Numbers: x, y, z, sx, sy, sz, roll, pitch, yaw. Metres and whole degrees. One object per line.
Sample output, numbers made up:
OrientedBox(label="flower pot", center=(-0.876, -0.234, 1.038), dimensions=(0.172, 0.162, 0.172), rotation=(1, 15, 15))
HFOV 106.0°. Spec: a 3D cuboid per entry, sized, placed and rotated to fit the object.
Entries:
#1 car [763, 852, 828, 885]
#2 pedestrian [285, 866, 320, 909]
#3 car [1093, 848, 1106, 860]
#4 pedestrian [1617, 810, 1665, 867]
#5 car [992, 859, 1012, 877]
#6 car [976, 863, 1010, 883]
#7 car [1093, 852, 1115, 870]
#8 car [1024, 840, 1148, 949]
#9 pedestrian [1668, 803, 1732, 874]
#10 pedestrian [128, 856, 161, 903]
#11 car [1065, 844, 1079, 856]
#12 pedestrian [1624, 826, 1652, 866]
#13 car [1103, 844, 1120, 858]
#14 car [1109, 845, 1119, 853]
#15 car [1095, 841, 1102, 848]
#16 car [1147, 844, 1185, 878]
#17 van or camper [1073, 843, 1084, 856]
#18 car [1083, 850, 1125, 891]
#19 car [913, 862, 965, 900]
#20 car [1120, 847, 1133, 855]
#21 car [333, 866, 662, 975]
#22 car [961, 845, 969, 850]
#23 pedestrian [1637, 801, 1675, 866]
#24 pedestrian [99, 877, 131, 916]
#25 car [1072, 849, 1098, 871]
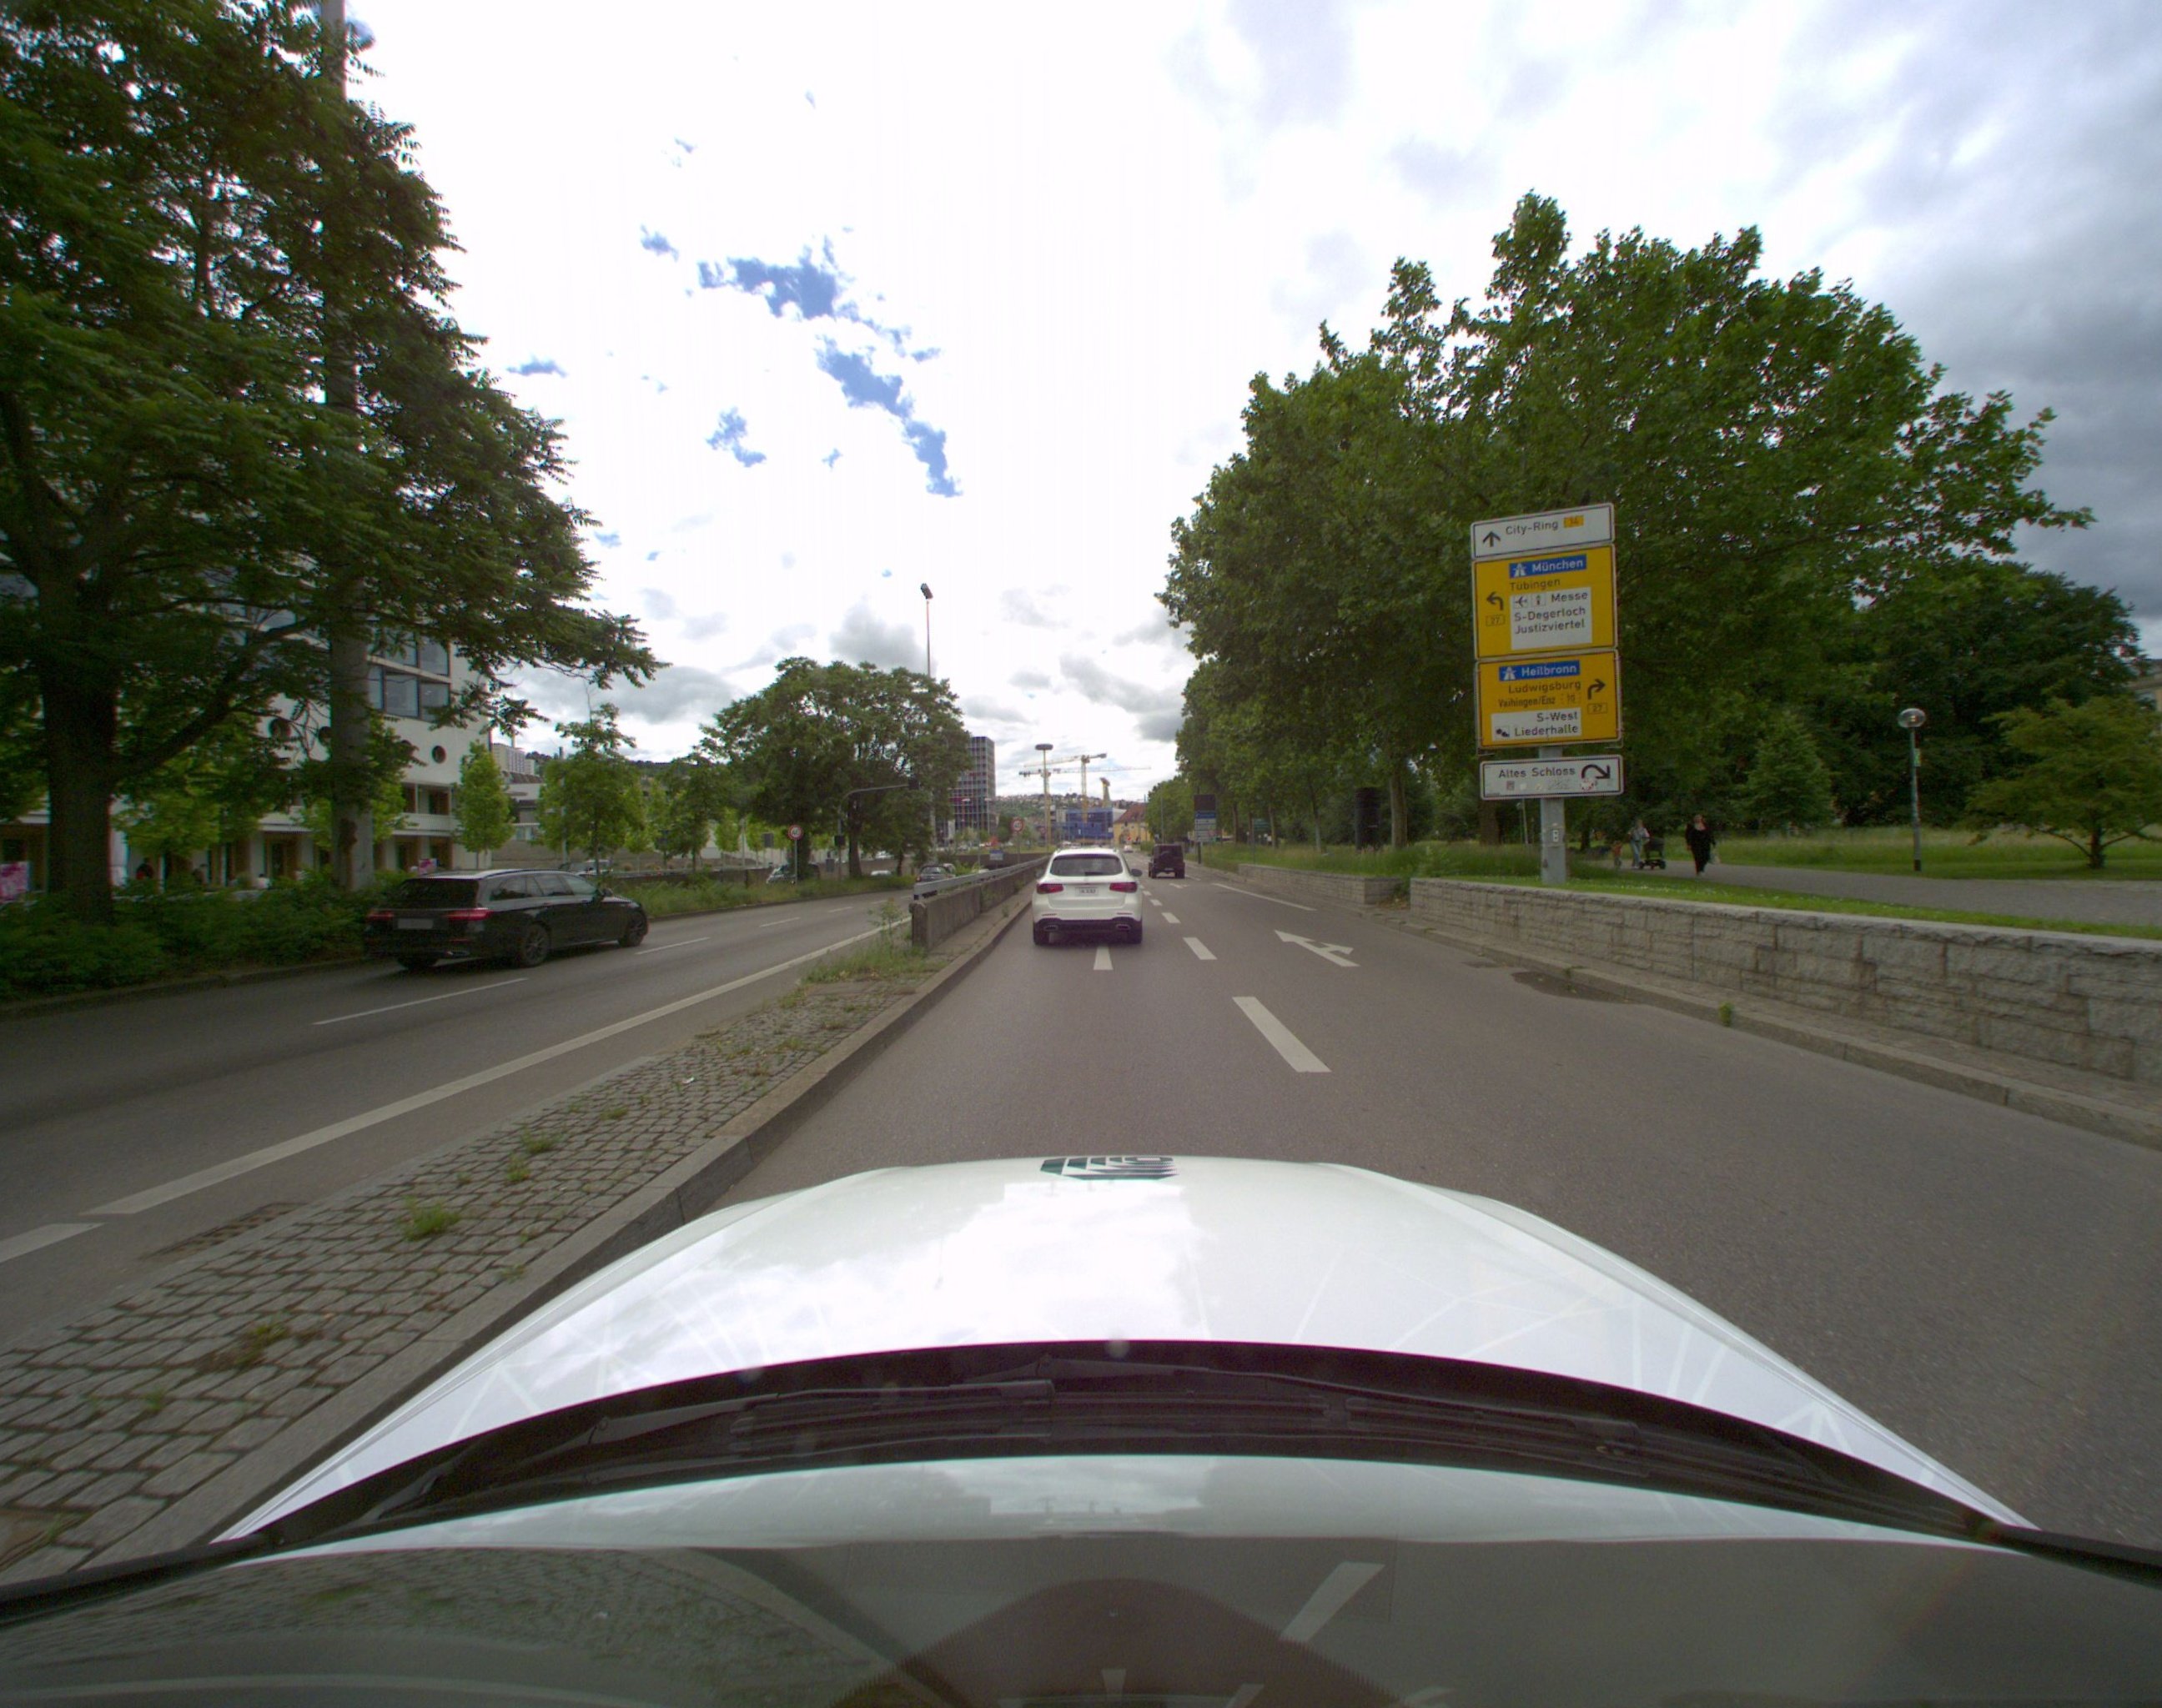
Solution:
OrientedBox(label="car", center=(-16.270, 0.802, 46.617), dimensions=(1.849, 1.717, 4.449), rotation=(-2, 0, 3))
OrientedBox(label="pedestrian", center=(-38.028, 1.635, 39.767), dimensions=(0.710, 2.013, 0.737), rotation=(-10, -1, -8))
OrientedBox(label="car", center=(2.858, 0.033, 127.349), dimensions=(1.987, 1.781, 3.998), rotation=(1, -1, -1))
OrientedBox(label="pedestrian", center=(18.428, -0.491, 26.807), dimensions=(0.990, 1.836, 1.033), rotation=(1, -1, 12))
OrientedBox(label="car", center=(-7.877, 1.379, 81.218), dimensions=(1.714, 1.678, 3.997), rotation=(1, 0, -2))
OrientedBox(label="car", center=(-6.074, 1.319, 56.806), dimensions=(1.712, 1.292, 4.003), rotation=(1, 0, 3))
OrientedBox(label="car", center=(2.196, 0.662, 78.350), dimensions=(1.916, 1.602, 3.999), rotation=(0, 0, -1))
OrientedBox(label="car", center=(0.059, 0.670, 15.051), dimensions=(1.935, 1.684, 3.998), rotation=(-2, -1, -1))
OrientedBox(label="pedestrian", center=(15.613, -0.391, 20.562), dimensions=(0.893, 1.732, 0.969), rotation=(1, 0, 0))
OrientedBox(label="pedestrian", center=(-41.601, 1.118, 36.186), dimensions=(0.630, 2.013, 0.630), rotation=(-5, -1, 0))
OrientedBox(label="car", center=(-1.434, -0.605, 131.448), dimensions=(1.986, 1.757, 4.001), rotation=(1, -1, 1))
OrientedBox(label="pedestrian", center=(18.376, -0.257, 26.880), dimensions=(0.580, 1.325, 0.542), rotation=(1, -2, 0))
OrientedBox(label="car", center=(3.933, -0.401, 106.324), dimensions=(1.987, 1.662, 3.998), rotation=(1, -1, -1))
OrientedBox(label="car", center=(6.548, -0.927, 163.012), dimensions=(1.714, 1.584, 3.997), rotation=(1, 0, -2))
OrientedBox(label="car", center=(4.851, -2.618, 228.516), dimensions=(1.794, 2.014, 3.998), rotation=(1, -1, -1))
OrientedBox(label="car", center=(5.065, 0.420, 48.937), dimensions=(1.970, 1.893, 4.709), rotation=(1, -1, 2))
OrientedBox(label="van or camper", center=(-0.470, -0.892, 155.549), dimensions=(1.916, 2.320, 3.998), rotation=(0, -2, -1))
OrientedBox(label="car", center=(0.952, 0.693, 34.531), dimensions=(1.666, 1.628, 4.000), rotation=(1, -1, 1))
OrientedBox(label="car", center=(-5.978, 1.105, 34.622), dimensions=(1.622, 1.509, 3.539), rotation=(0, -1, 0))
OrientedBox(label="car", center=(9.092, -0.582, 163.367), dimensions=(1.990, 1.618, 3.993), rotation=(1, -1, -5))
OrientedBox(label="car", center=(-9.099, 0.929, 13.387), dimensions=(1.806, 1.460, 4.863), rotation=(0, -1, 1))
OrientedBox(label="car", center=(-28.968, -1.609, 203.137), dimensions=(1.829, 1.360, 3.861), rotation=(1, -1, -5))
OrientedBox(label="pedestrian", center=(18.245, -0.623, 25.838), dimensions=(0.568, 2.014, 0.932), rotation=(1, -1, 1))
OrientedBox(label="pedestrian", center=(-42.055, 1.849, 35.445), dimensions=(0.630, 1.634, 0.630), rotation=(-1, -1, 0))
OrientedBox(label="car", center=(0.290, 0.425, 61.501), dimensions=(1.916, 1.602, 3.999), rotation=(0, 0, -1))
